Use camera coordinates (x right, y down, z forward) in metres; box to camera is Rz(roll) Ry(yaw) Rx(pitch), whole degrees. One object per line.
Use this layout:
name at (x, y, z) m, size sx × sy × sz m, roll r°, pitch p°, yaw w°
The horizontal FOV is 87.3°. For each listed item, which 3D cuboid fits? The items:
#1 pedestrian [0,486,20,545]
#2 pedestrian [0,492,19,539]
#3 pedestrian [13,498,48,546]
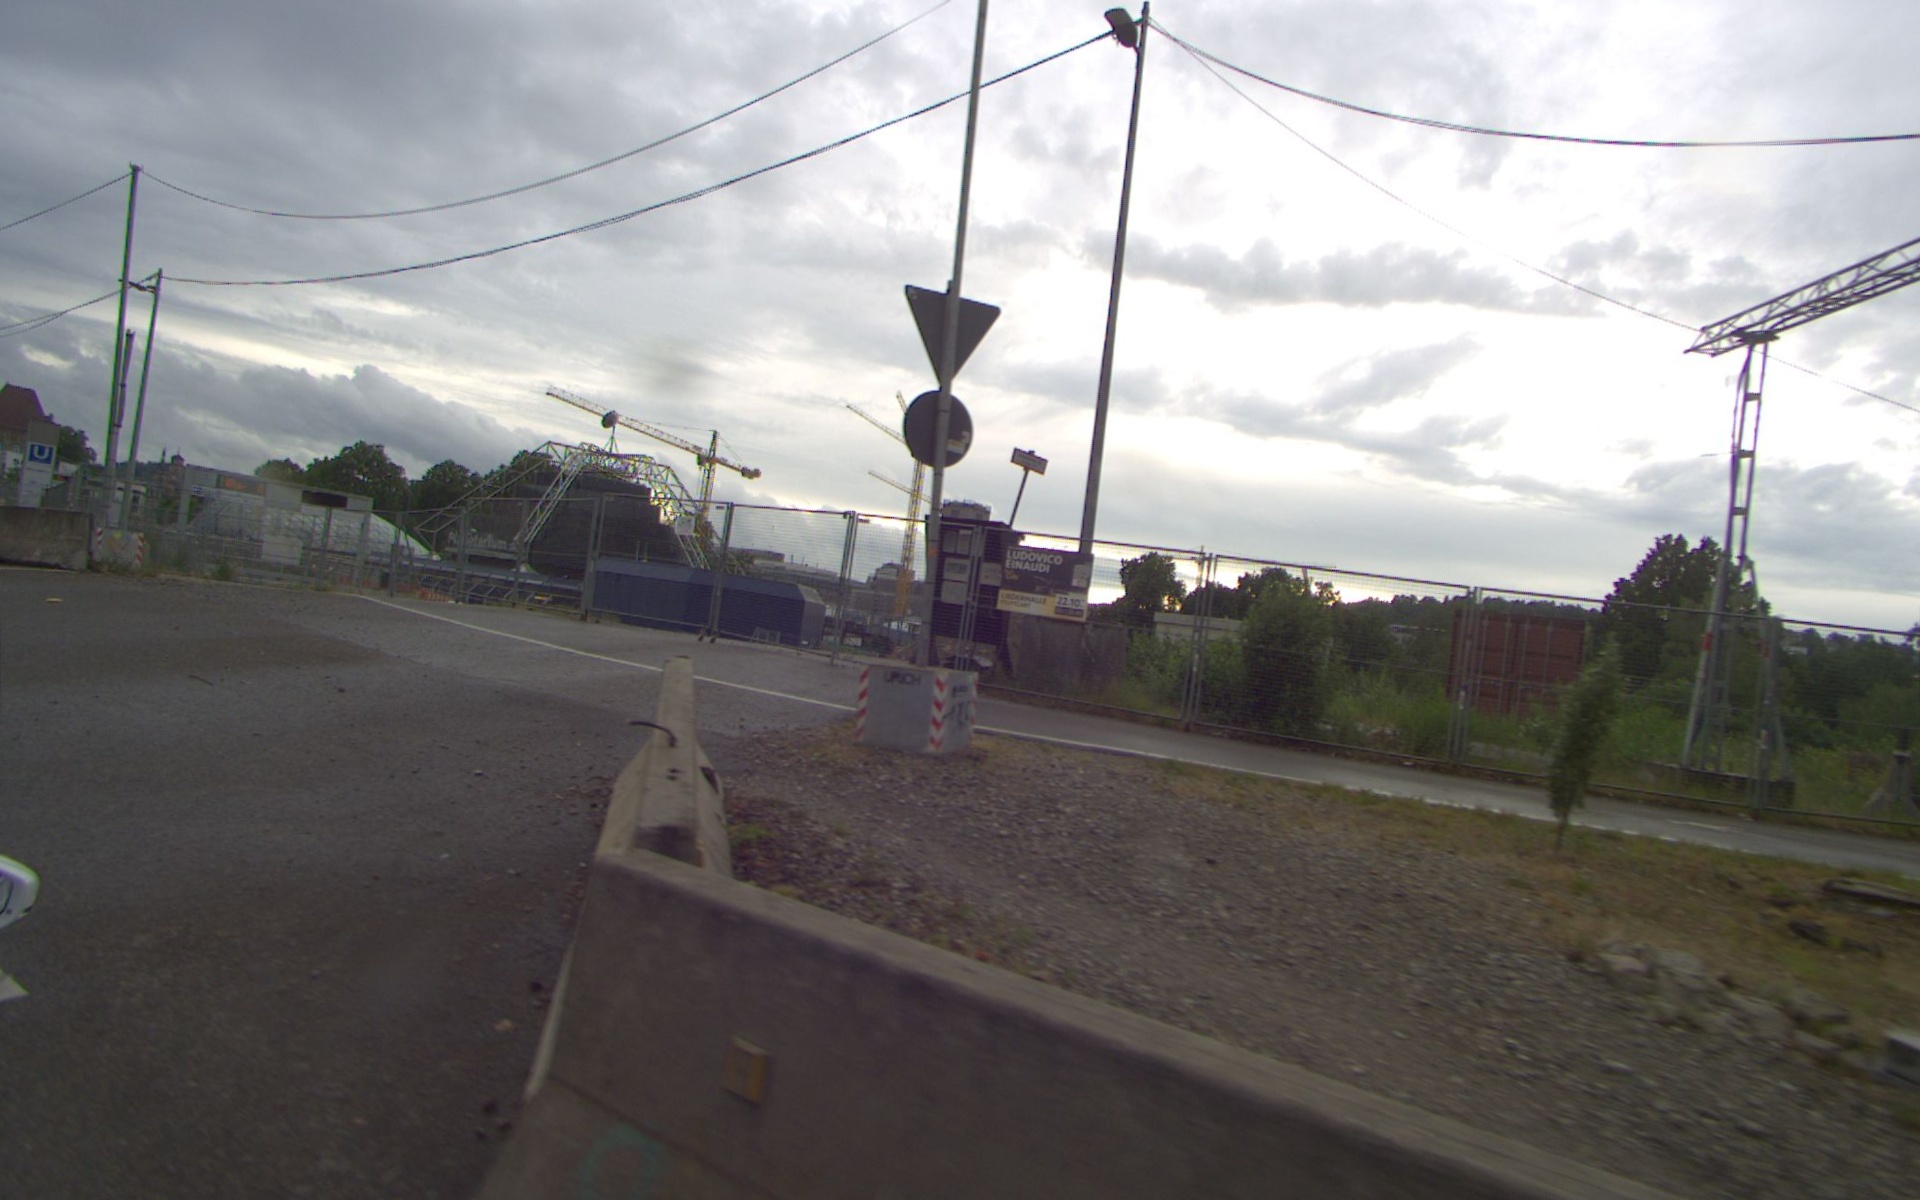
pedestrian at (-30.557, -2.721, 31.928) m, size 0.801 × 1.799 × 0.691 m, roll 7°, pitch -1°, yaw 28°
pedestrian at (-38.440, -3.406, 40.347) m, size 1.007 × 1.799 × 0.690 m, roll 6°, pitch -1°, yaw 35°
pedestrian at (-37.949, -3.188, 41.065) m, size 1.007 × 1.799 × 0.726 m, roll 6°, pitch -1°, yaw 36°
